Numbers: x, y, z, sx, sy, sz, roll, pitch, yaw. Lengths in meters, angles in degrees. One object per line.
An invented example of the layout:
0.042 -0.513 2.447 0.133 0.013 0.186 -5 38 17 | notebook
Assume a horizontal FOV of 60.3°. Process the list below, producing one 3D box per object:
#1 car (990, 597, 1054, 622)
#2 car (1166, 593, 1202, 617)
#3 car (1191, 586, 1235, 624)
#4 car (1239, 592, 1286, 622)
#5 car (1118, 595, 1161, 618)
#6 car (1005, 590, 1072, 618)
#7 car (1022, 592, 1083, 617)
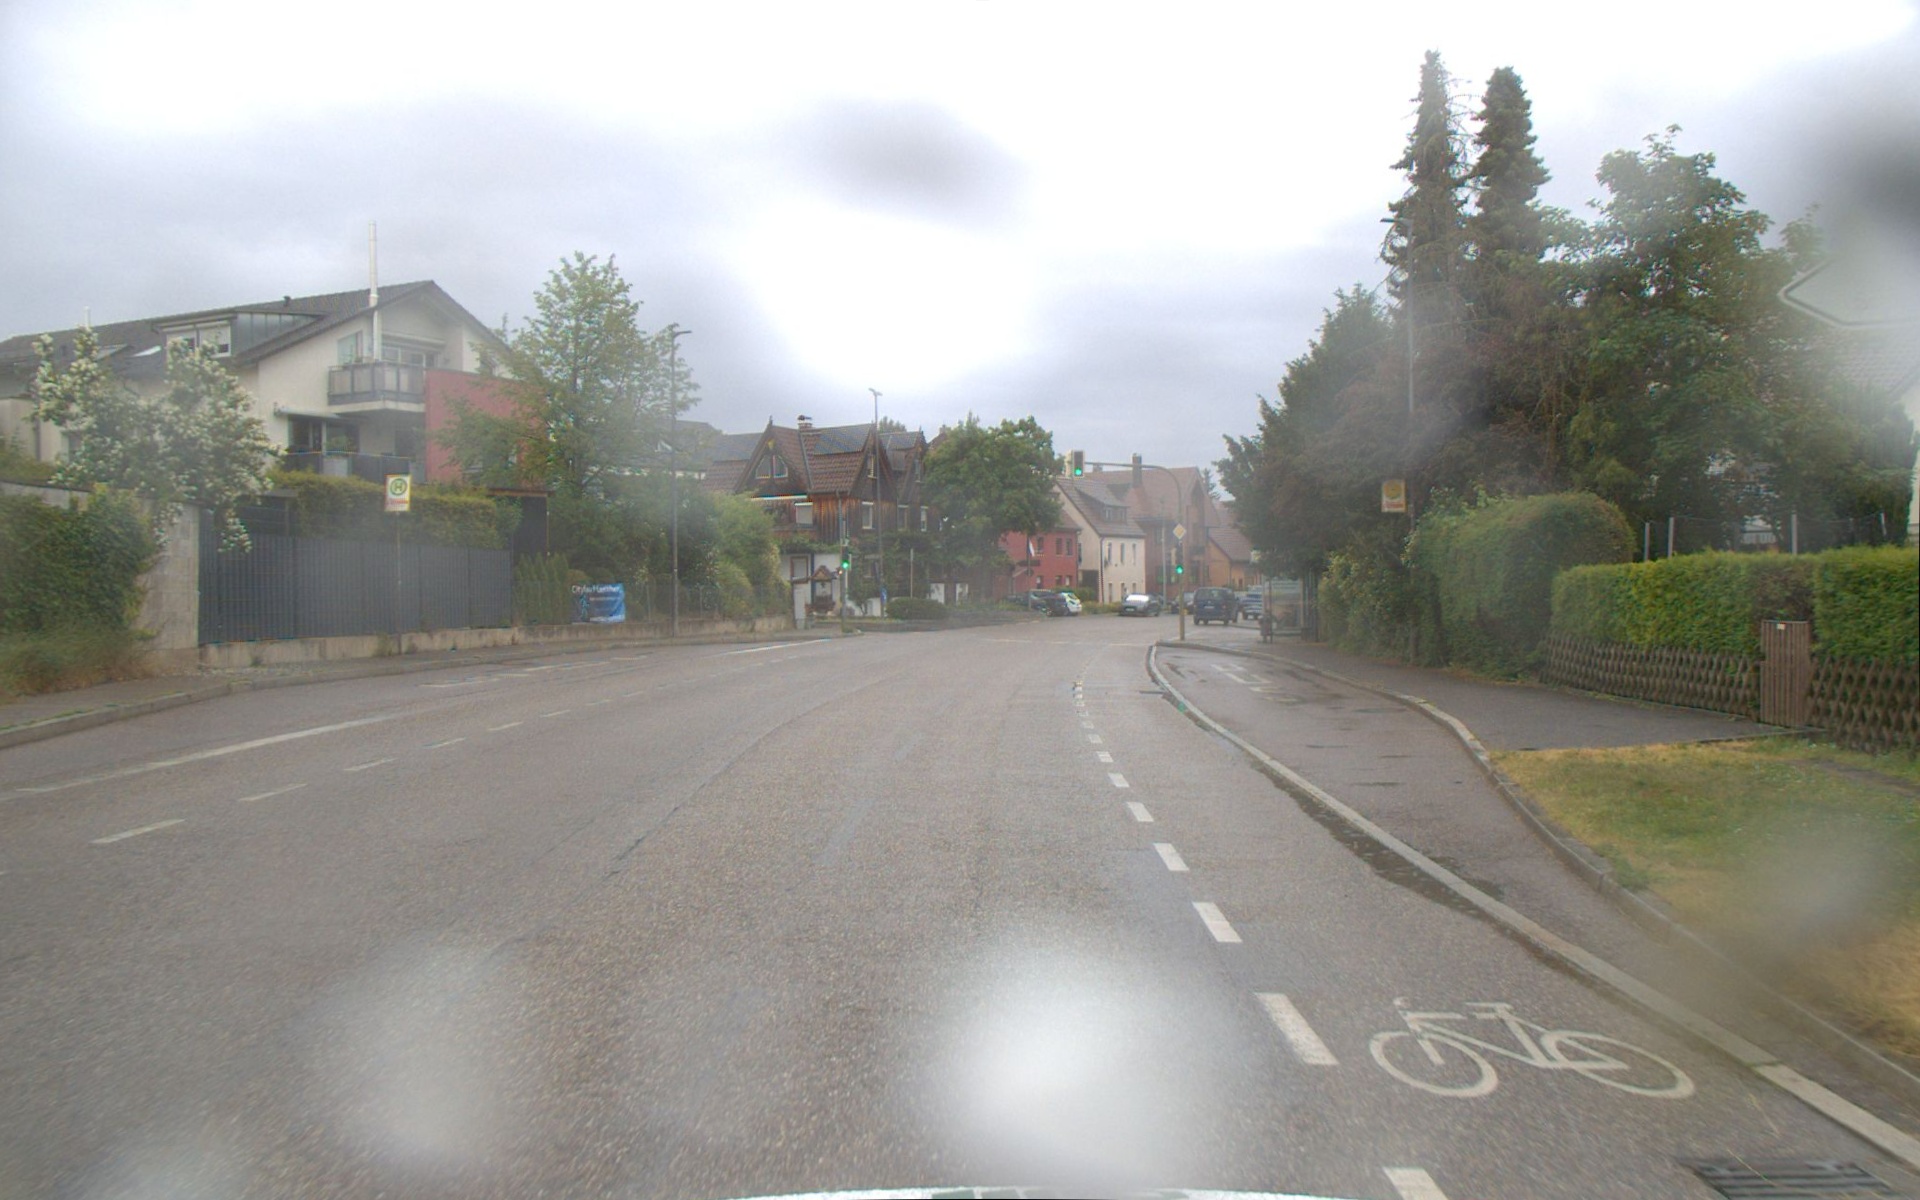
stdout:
3.625 0.544 97.040 3.378 1.443 1.631 -1 0 27 | car
15.540 0.322 114.497 1.573 1.646 3.274 -1 0 25 | car
13.646 0.237 88.983 1.889 1.935 4.797 1 0 14 | car
18.969 0.435 103.614 1.870 1.747 4.553 2 1 24 | car
11.424 0.391 105.048 1.594 1.379 4.109 2 1 23 | car
4.713 0.217 99.256 3.508 1.532 1.853 2 1 29 | car
5.706 0.281 101.954 3.393 1.505 1.589 -1 0 27 | car
